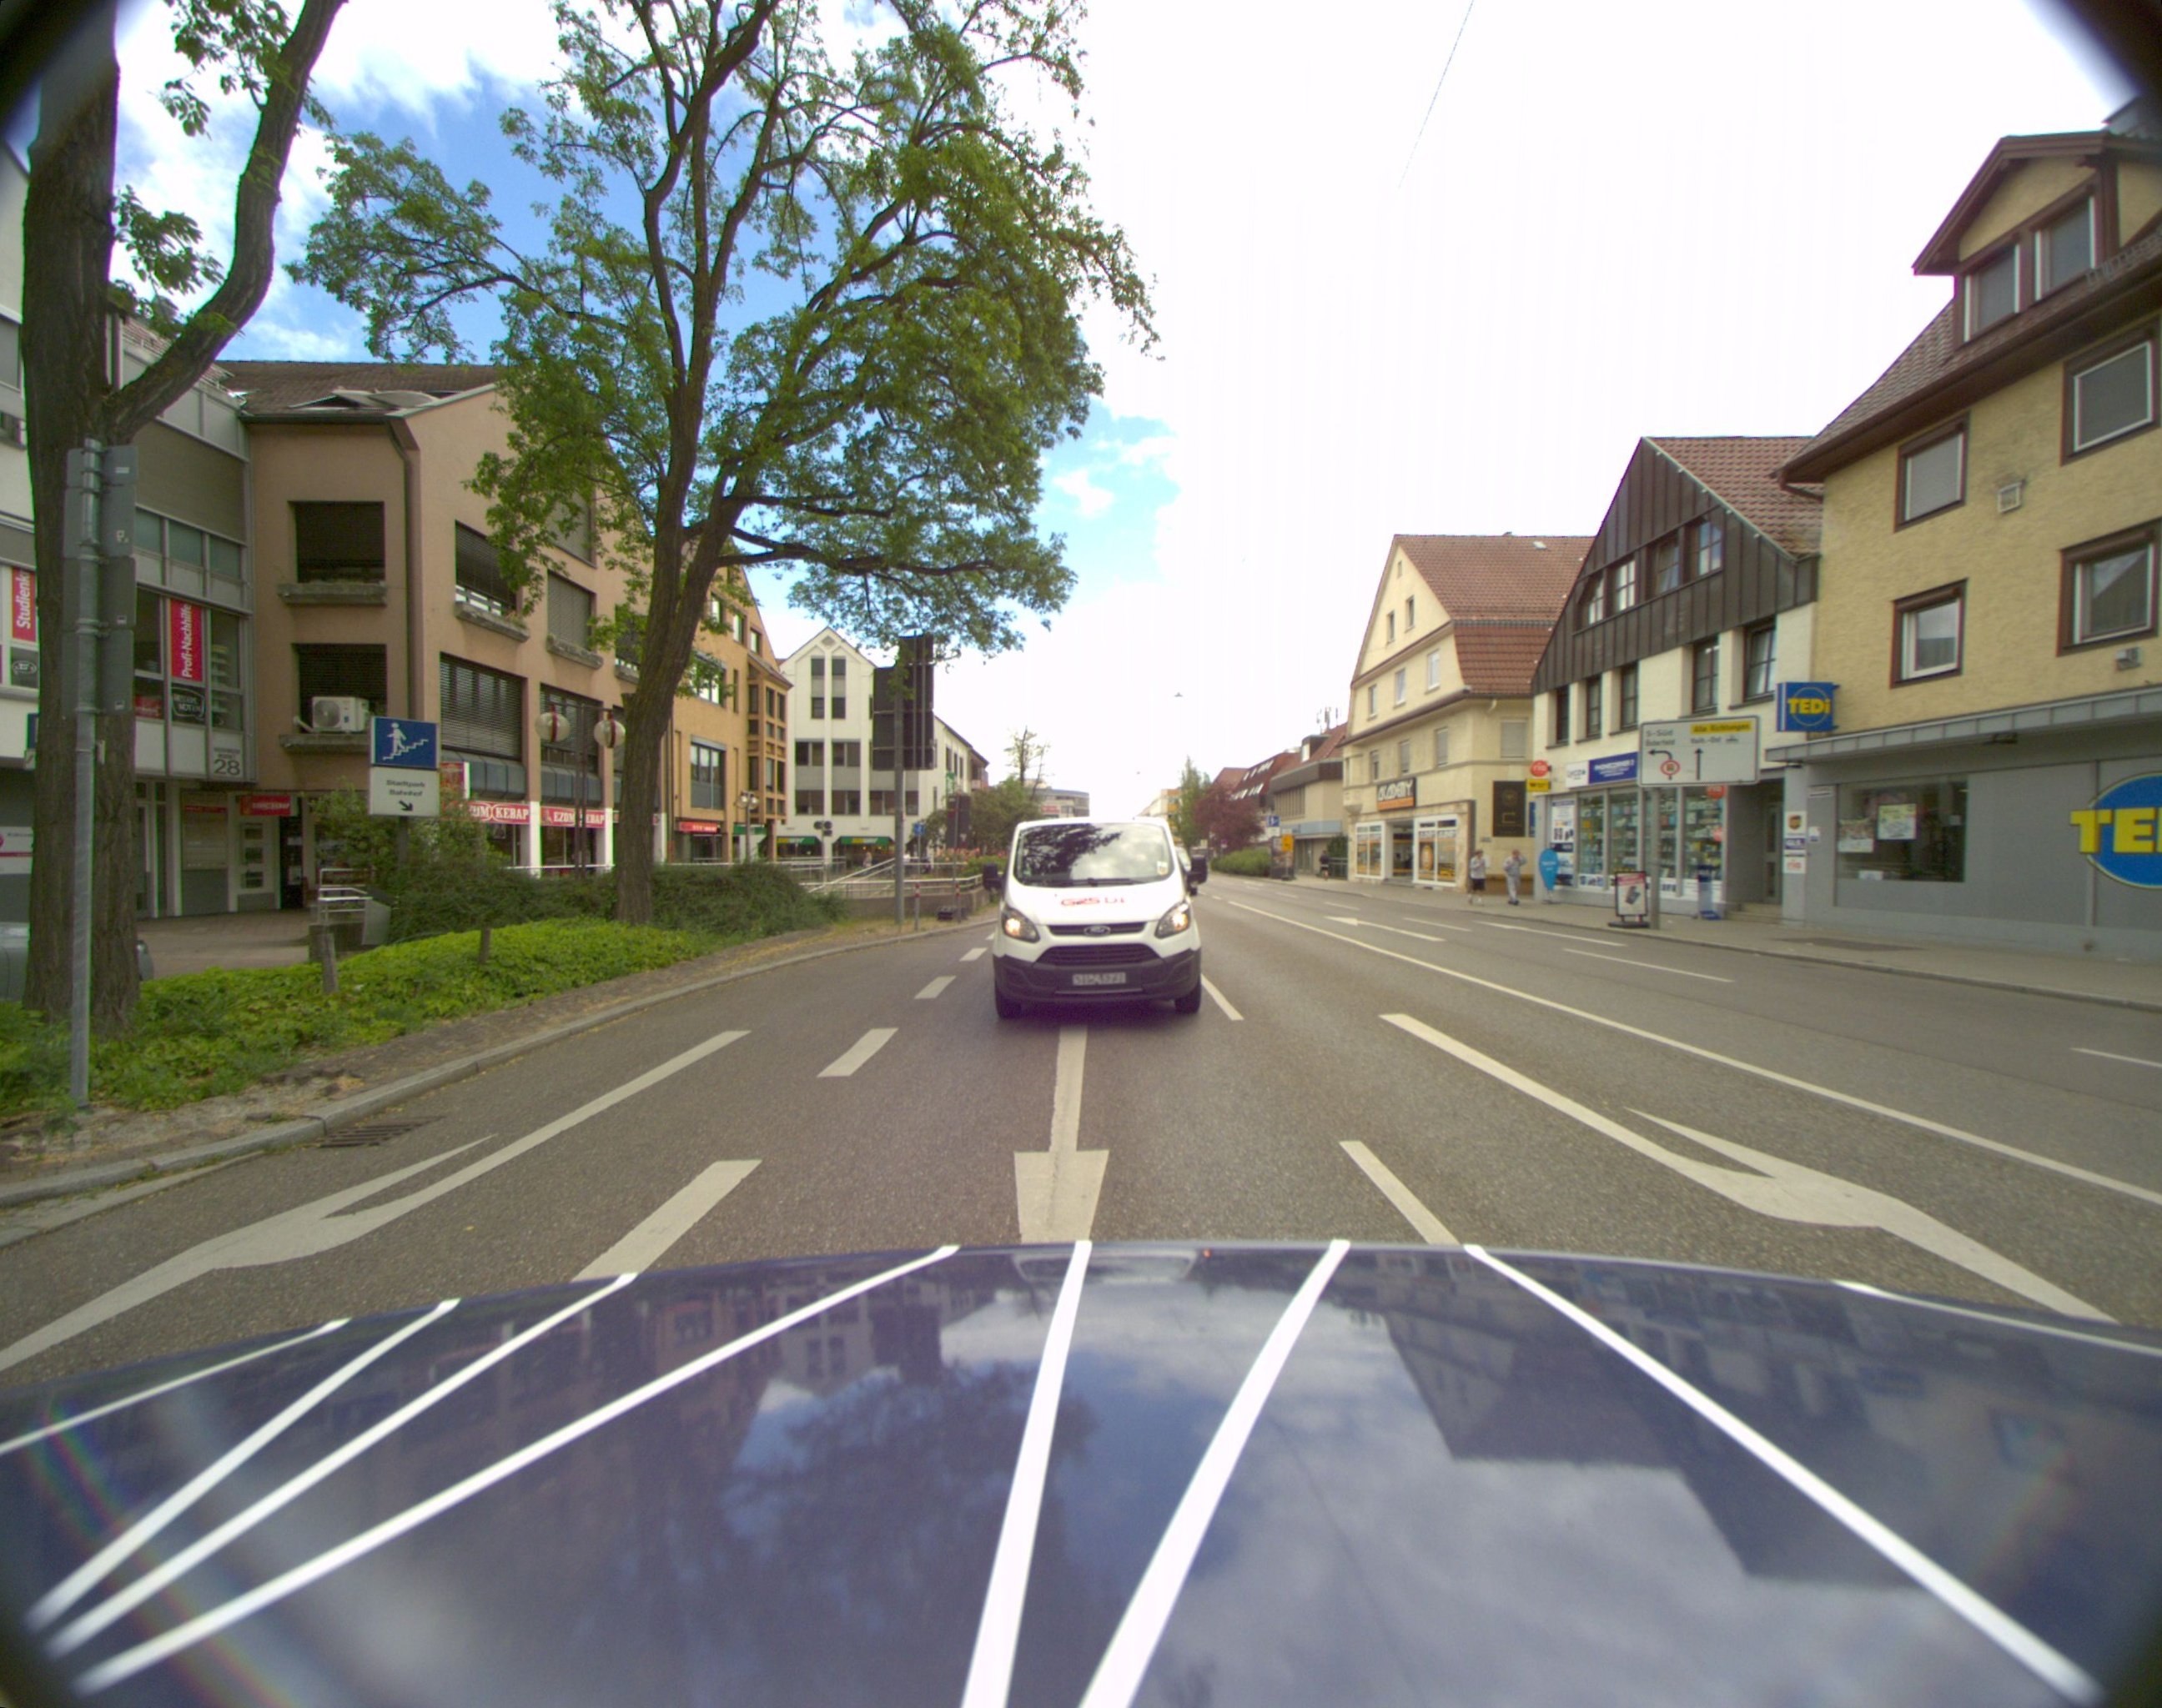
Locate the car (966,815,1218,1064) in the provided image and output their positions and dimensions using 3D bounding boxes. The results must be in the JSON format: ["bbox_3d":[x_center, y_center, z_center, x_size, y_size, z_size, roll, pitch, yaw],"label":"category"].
[{"bbox_3d":[0.112,0.682,8.732,1.964,1.948,5.164,-2,0,0],"label":"car"}]

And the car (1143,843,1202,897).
[{"bbox_3d":[3.397,0.560,28.851,1.748,1.844,4.634,-2,0,1],"label":"car"}]

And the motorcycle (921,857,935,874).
[{"bbox_3d":[-9.715,0.708,48.179,0.464,1.062,1.995,0,0,1],"label":"motorcycle"}]

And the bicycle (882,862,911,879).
[{"bbox_3d":[-10.404,0.940,42.893,1.594,0.963,0.461,0,1,-14],"label":"bicycle"}]

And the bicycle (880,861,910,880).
[{"bbox_3d":[-10.309,0.920,42.180,1.594,0.996,0.414,0,1,-13],"label":"bicycle"}]

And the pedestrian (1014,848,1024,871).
[{"bbox_3d":[-4.404,0.384,53.846,0.653,1.568,0.684,-1,1,1],"label":"pedestrian"}]

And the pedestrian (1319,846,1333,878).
[{"bbox_3d":[14.348,0.474,44.587,0.551,1.878,0.592,-2,1,-3],"label":"pedestrian"}]

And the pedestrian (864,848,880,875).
[{"bbox_3d":[-13.568,0.487,49.304,0.887,1.747,0.943,0,1,-11],"label":"pedestrian"}]

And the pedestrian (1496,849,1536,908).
[{"bbox_3d":[12.642,0.696,22.081,0.689,1.660,0.709,-3,1,1],"label":"pedestrian"}]

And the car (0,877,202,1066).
[{"bbox_3d":[-10.335,1.049,5.711,1.999,1.586,4.762,0,0,-2],"label":"car"}]

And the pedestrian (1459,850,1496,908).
[{"bbox_3d":[11.733,0.735,22.501,0.689,1.680,0.742,-1,1,1],"label":"pedestrian"}]

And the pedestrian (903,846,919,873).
[{"bbox_3d":[-11.283,0.359,50.421,0.871,1.812,0.785,-2,1,-3],"label":"pedestrian"}]

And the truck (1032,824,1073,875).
[{"bbox_3d":[-2.034,-0.383,57.293,2.446,3.464,8.346,-2,1,1],"label":"truck"}]
